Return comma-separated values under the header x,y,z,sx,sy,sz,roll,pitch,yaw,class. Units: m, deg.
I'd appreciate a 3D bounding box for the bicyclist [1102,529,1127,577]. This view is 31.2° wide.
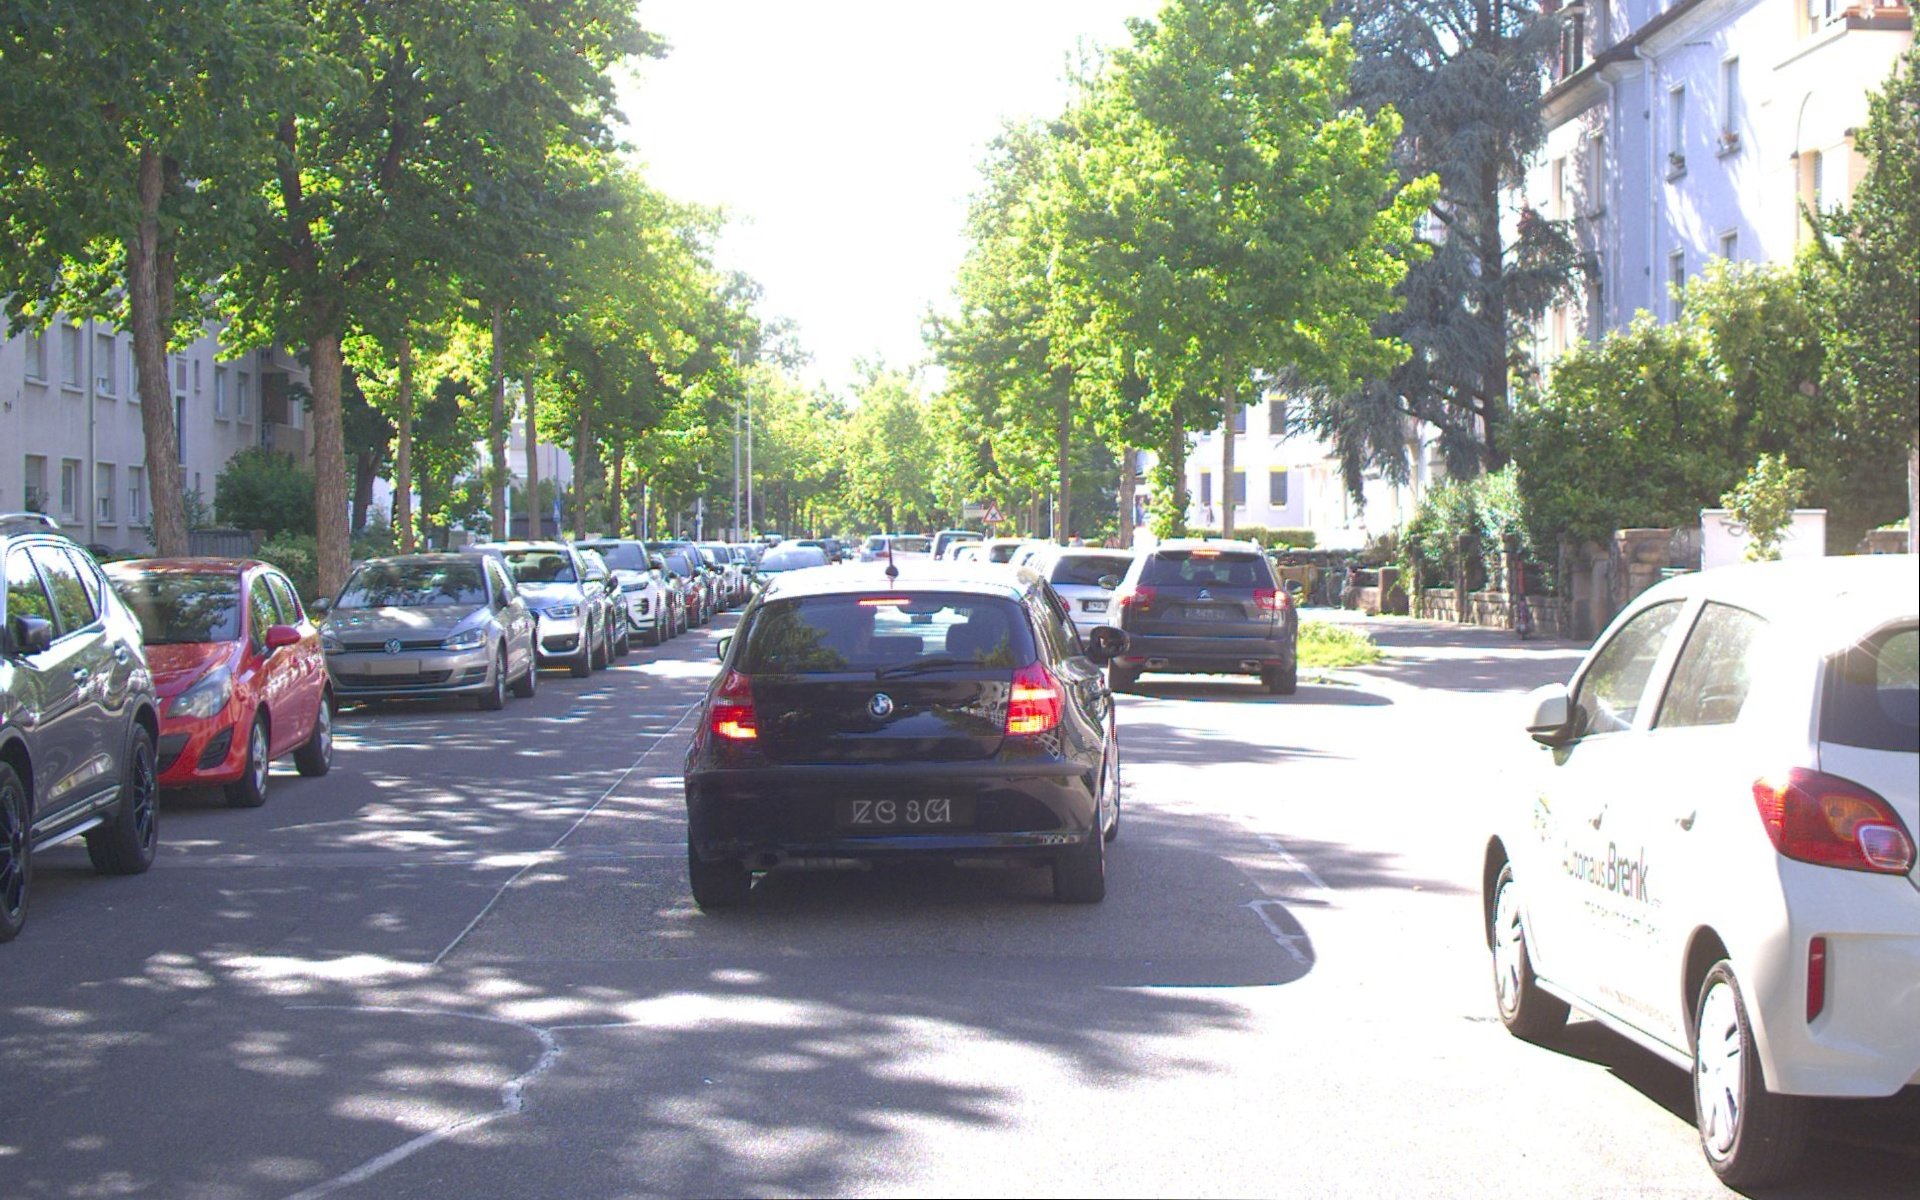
x,y,z,sx,sy,sz,roll,pitch,yaw,class
5.002,-1.522,111.235,0.676,1.548,1.022,0,1,-5,bicyclist

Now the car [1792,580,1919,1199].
x,y,z,sx,sy,sz,roll,pitch,yaw,class
2.658,0.753,4.973,1.670,1.445,4.180,2,1,-3,car

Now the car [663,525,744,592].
x,y,z,sx,sy,sz,roll,pitch,yaw,class
-6.326,-1.038,85.136,1.811,1.590,4.233,-1,1,-2,car

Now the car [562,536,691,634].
x,y,z,sx,sy,sz,roll,pitch,yaw,class
-5.546,-0.291,57.640,1.728,1.472,4.619,-3,1,-1,car

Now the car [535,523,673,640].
x,y,z,sx,sy,sz,roll,pitch,yaw,class
-5.370,-0.310,52.299,1.728,1.612,4.367,-3,1,-2,car

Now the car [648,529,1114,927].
x,y,z,sx,sy,sz,roll,pitch,yaw,class
-0.220,0.457,15.309,1.783,1.518,4.000,-1,1,3,car

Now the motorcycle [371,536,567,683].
x,y,z,sx,sy,sz,roll,pitch,yaw,class
-5.242,0.086,36.574,0.987,1.498,2.233,-2,1,-41,motorcycle

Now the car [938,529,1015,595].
x,y,z,sx,sy,sz,roll,pitch,yaw,class
0.424,-1.085,95.242,1.907,1.693,4.314,3,1,-2,car

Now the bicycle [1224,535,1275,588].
x,y,z,sx,sy,sz,roll,pitch,yaw,class
6.966,-0.943,82.851,0.838,1.253,2.232,1,1,-5,bicycle

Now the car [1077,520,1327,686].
x,y,z,sx,sy,sz,roll,pitch,yaw,class
2.326,0.014,34.320,1.895,1.519,4.968,1,0,-3,car

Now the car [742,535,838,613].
x,y,z,sx,sy,sz,roll,pitch,yaw,class
-3.356,-0.537,68.078,1.809,1.441,4.367,-2,1,-2,car

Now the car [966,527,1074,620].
x,y,z,sx,sy,sz,roll,pitch,yaw,class
1.101,-0.541,65.531,1.926,1.646,5.095,2,1,0,car

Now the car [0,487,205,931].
x,y,z,sx,sy,sz,roll,pitch,yaw,class
-4.621,0.385,14.998,1.767,1.682,4.815,-1,1,-2,car

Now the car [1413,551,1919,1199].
x,y,z,sx,sy,sz,roll,pitch,yaw,class
2.504,0.626,9.541,1.732,1.482,4.010,1,1,-3,car

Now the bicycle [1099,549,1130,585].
x,y,z,sx,sy,sz,roll,pitch,yaw,class
4.997,-1.070,111.262,0.683,1.149,2.403,0,1,-5,bicycle

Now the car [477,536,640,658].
x,y,z,sx,sy,sz,roll,pitch,yaw,class
-5.279,-0.080,45.737,1.728,1.442,4.821,-2,1,-2,car

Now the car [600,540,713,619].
x,y,z,sx,sy,sz,roll,pitch,yaw,class
-5.657,-0.417,64.525,1.779,1.374,4.263,-2,1,-1,car

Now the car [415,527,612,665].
x,y,z,sx,sy,sz,roll,pitch,yaw,class
-5.196,-0.096,40.551,2.063,1.519,4.723,0,1,-4,car

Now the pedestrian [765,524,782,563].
x,y,z,sx,sy,sz,roll,pitch,yaw,class
-8.975,-2.724,165.235,0.715,1.894,0.837,0,1,-11,pedestrian

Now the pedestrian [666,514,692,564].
x,y,z,sx,sy,sz,roll,pitch,yaw,class
-11.192,-2.436,136.916,0.859,2.007,0.981,0,1,7,pedestrian

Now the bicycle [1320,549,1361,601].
x,y,z,sx,sy,sz,roll,pitch,yaw,class
7.403,-0.491,66.983,0.581,0.971,1.903,-1,1,0,bicycle

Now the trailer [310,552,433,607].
x,y,z,sx,sy,sz,roll,pitch,yaw,class
-11.407,-0.408,66.790,1.789,1.030,3.281,0,1,1,trailer

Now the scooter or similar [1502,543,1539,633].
x,y,z,sx,sy,sz,roll,pitch,yaw,class
7.580,-0.169,46.469,0.402,1.181,1.205,0,2,14,scooter or similar

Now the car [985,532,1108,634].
x,y,z,sx,sy,sz,roll,pitch,yaw,class
1.377,-0.301,55.954,1.654,1.527,3.970,2,1,-3,car

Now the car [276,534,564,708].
x,y,z,sx,sy,sz,roll,pitch,yaw,class
-5.040,0.142,32.727,2.043,1.519,4.606,0,1,0,car

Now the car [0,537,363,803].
x,y,z,sx,sy,sz,roll,pitch,yaw,class
-4.941,0.354,21.254,1.856,1.464,4.182,0,1,-1,car

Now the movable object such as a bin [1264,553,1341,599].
x,y,z,sx,sy,sz,roll,pitch,yaw,class
7.021,-0.497,70.486,1.222,0.901,1.663,0,1,19,movable object such as a bin

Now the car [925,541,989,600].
x,y,z,sx,sy,sz,roll,pitch,yaw,class
-0.136,-1.007,115.607,1.970,1.942,4.986,0,1,-2,car

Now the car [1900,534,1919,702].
x,y,z,sx,sy,sz,roll,pitch,yaw,class
10.835,0.155,30.531,4.721,1.464,1.952,0,1,13,car

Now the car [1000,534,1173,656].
x,y,z,sx,sy,sz,roll,pitch,yaw,class
1.601,-0.111,45.241,1.821,1.464,4.910,2,1,-3,car
